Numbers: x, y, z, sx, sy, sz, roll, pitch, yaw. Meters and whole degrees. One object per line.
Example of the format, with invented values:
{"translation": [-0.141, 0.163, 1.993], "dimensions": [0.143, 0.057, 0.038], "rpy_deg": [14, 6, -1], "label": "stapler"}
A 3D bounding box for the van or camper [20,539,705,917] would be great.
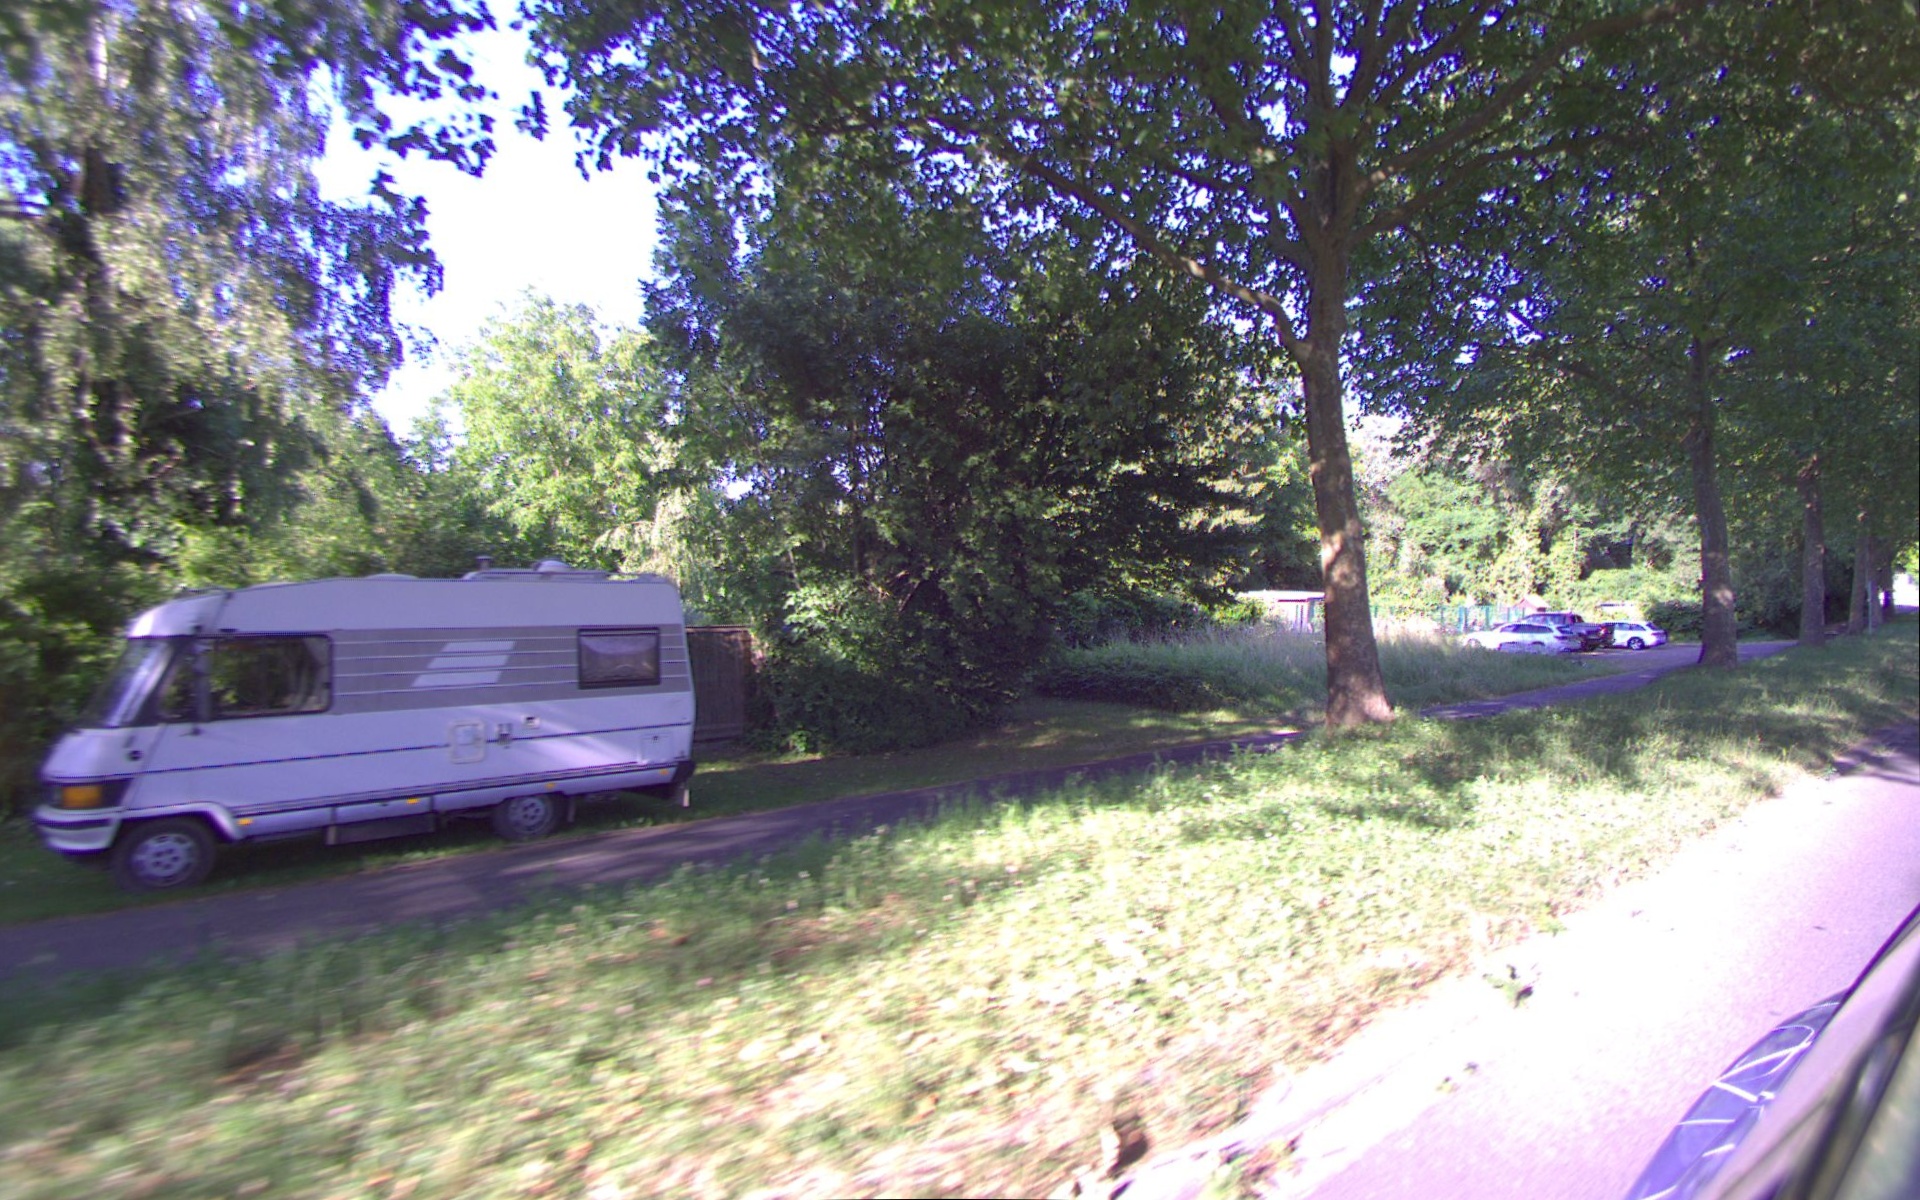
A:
{"translation": [-5.715, 0.926, 10.347], "dimensions": [5.586, 2.835, 2.384], "rpy_deg": [-1, 0, -41], "label": "van or camper"}

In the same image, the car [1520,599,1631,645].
{"translation": [28.855, 0.978, 47.562], "dimensions": [1.962, 2.039, 4.001], "rpy_deg": [0, 0, -34], "label": "car"}

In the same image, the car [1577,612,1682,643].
{"translation": [33.857, 1.337, 51.228], "dimensions": [1.962, 1.404, 4.001], "rpy_deg": [-1, 1, -34], "label": "car"}

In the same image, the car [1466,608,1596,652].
{"translation": [24.630, 1.238, 43.772], "dimensions": [1.962, 1.691, 4.516], "rpy_deg": [0, 0, -34], "label": "car"}
